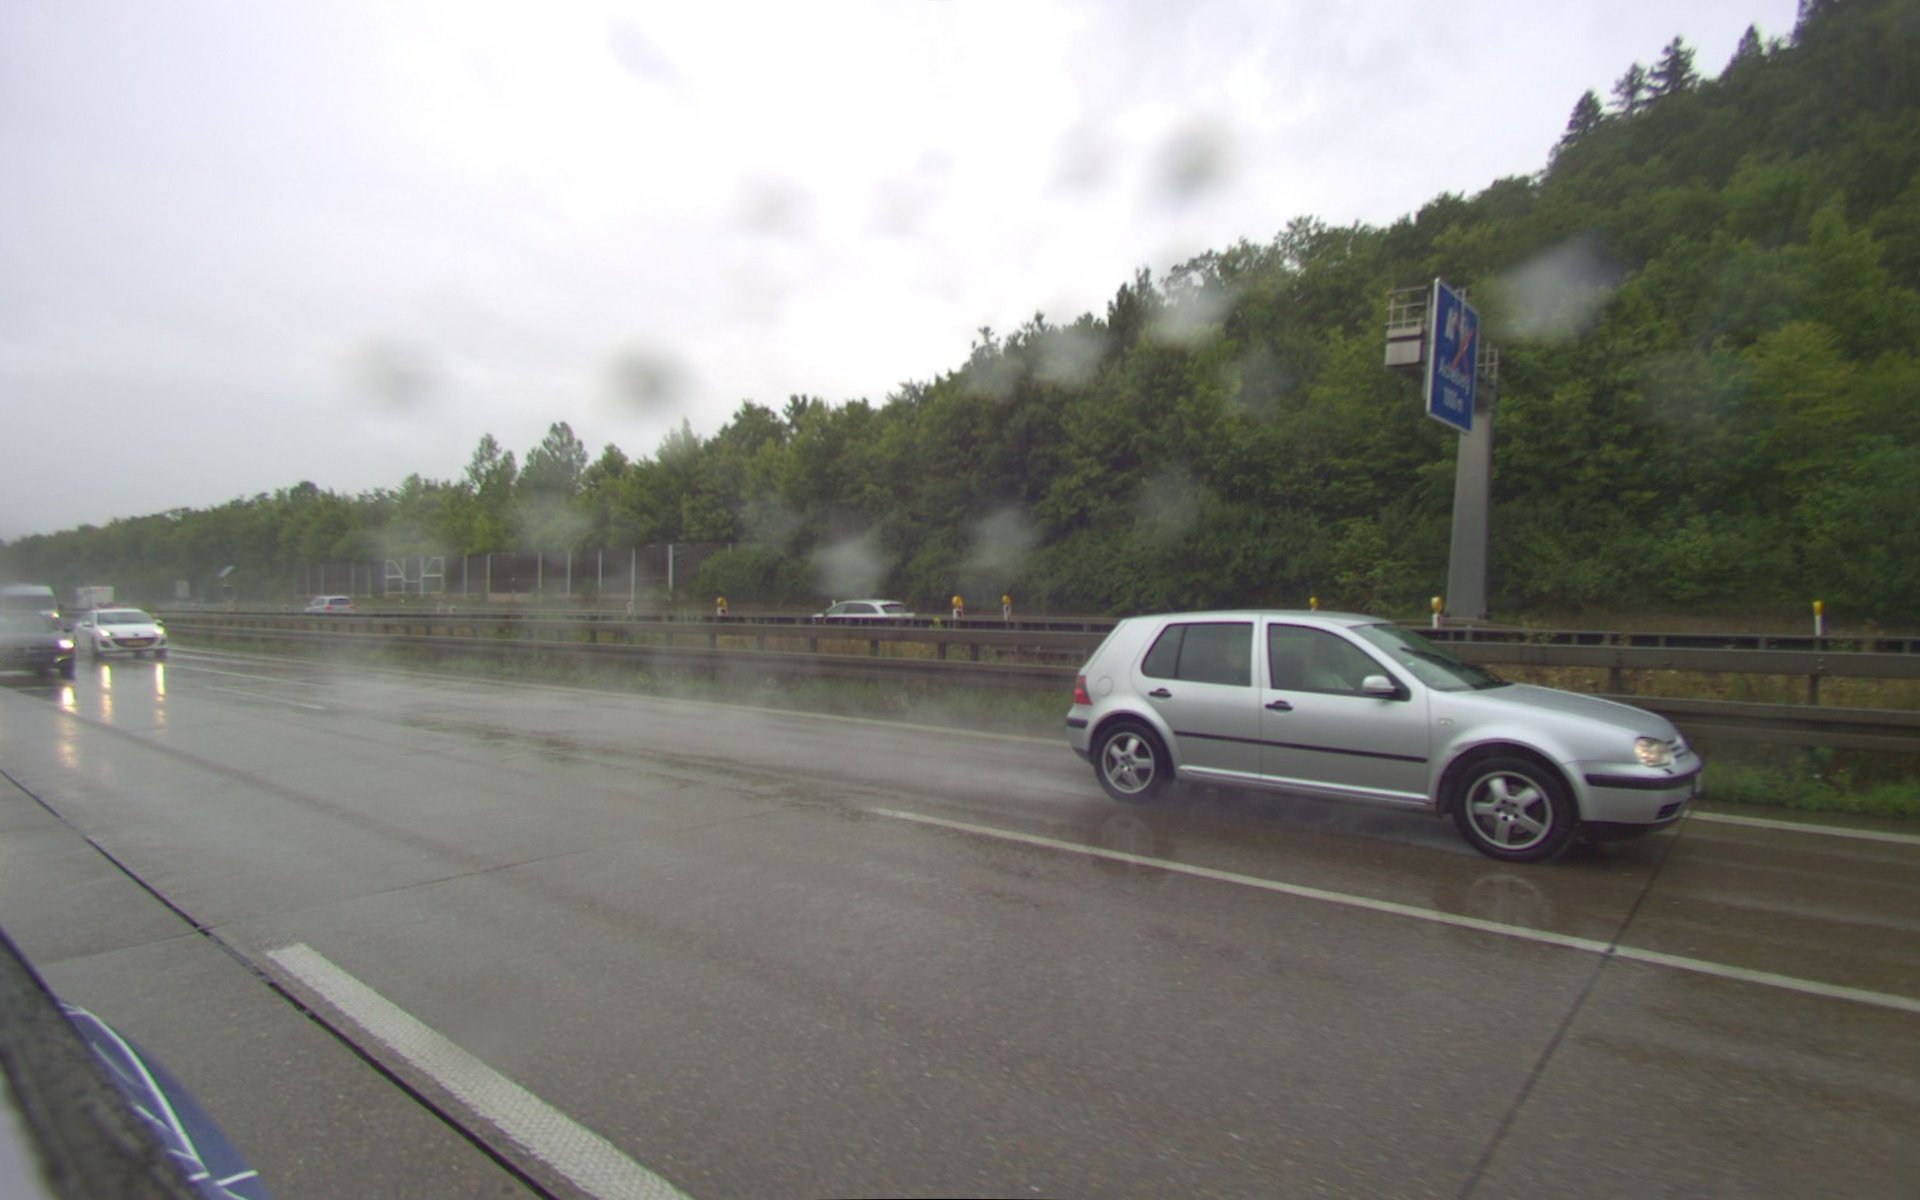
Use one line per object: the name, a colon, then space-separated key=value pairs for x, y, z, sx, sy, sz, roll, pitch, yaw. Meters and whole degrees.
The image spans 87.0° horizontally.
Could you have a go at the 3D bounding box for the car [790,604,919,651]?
car: x=-3.572 y=0.886 z=33.895 sx=4.515 sy=1.445 sz=1.650 roll=-1 pitch=0 yaw=41

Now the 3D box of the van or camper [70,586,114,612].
van or camper: x=-95.508 y=-0.118 z=111.338 sx=7.494 sy=2.738 sz=2.530 roll=0 pitch=1 yaw=41

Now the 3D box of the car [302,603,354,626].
car: x=-41.896 y=0.944 z=67.086 sx=4.515 sy=1.445 sz=1.650 roll=-1 pitch=0 yaw=41

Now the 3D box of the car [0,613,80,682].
car: x=-21.937 y=1.033 z=23.308 sx=4.515 sy=1.445 sz=1.909 roll=0 pitch=0 yaw=41

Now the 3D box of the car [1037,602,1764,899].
car: x=2.785 y=0.755 z=7.021 sx=4.347 sy=1.445 sz=1.650 roll=-1 pitch=0 yaw=40

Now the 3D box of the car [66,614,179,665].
car: x=-26.148 y=1.171 z=31.549 sx=4.514 sy=1.445 sz=1.910 roll=0 pitch=0 yaw=40

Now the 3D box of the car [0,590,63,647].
car: x=-45.881 y=0.861 z=49.516 sx=6.398 sy=2.651 sz=2.020 roll=0 pitch=0 yaw=40
